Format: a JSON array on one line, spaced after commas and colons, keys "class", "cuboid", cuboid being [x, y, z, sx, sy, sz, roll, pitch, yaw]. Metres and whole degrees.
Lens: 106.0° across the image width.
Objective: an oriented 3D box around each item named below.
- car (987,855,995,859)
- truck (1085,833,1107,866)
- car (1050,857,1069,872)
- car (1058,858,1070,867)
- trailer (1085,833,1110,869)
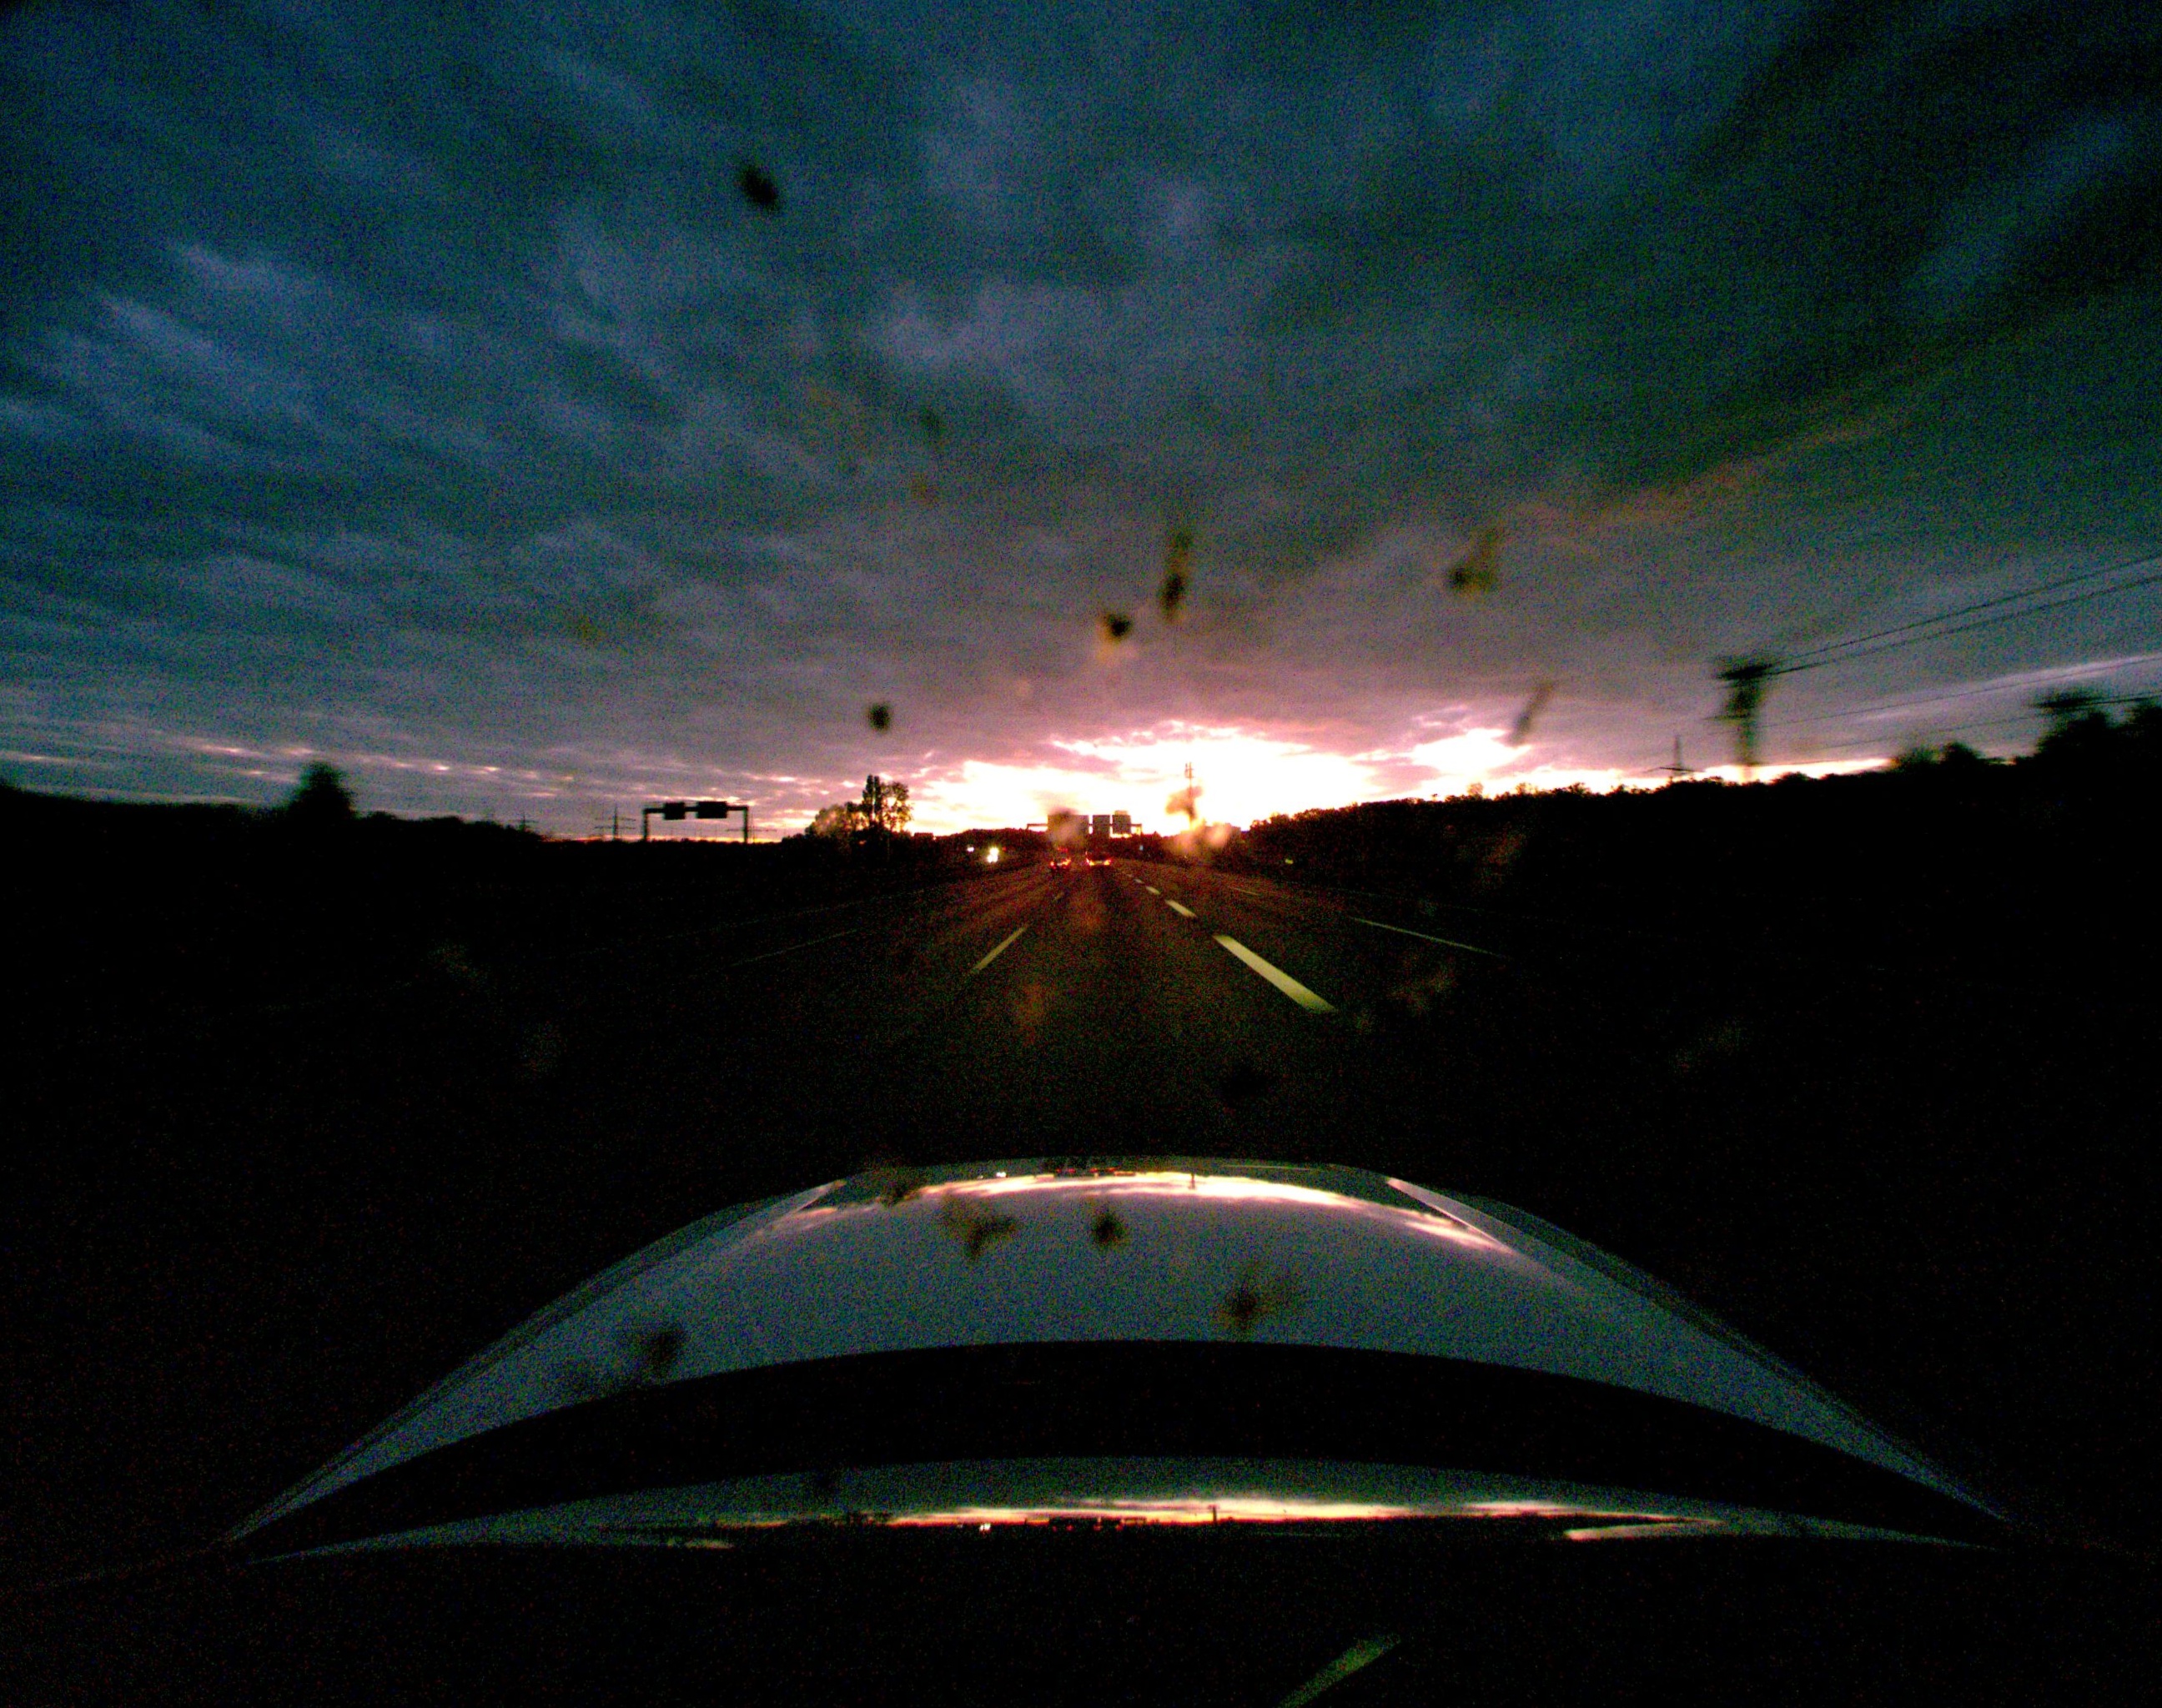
[{"class": "car", "cuboid": [-28.130, 0.972, 255.314, 1.988, 1.404, 4.326, -1, 0, -2]}, {"class": "truck", "cuboid": [1.907, -0.596, 108.127, 2.682, 4.071, 10.519, -2, 1, 0]}, {"class": "car", "cuboid": [-2.166, 1.050, 81.455, 1.687, 1.401, 3.402, -2, -1, -5]}, {"class": "car", "cuboid": [-2.558, 1.289, 122.630, 1.683, 1.401, 3.409, -3, -1, 1]}, {"class": "trailer", "cuboid": [1.911, -0.442, 98.447, 2.713, 4.071, 8.830, -2, 1, 0]}]
